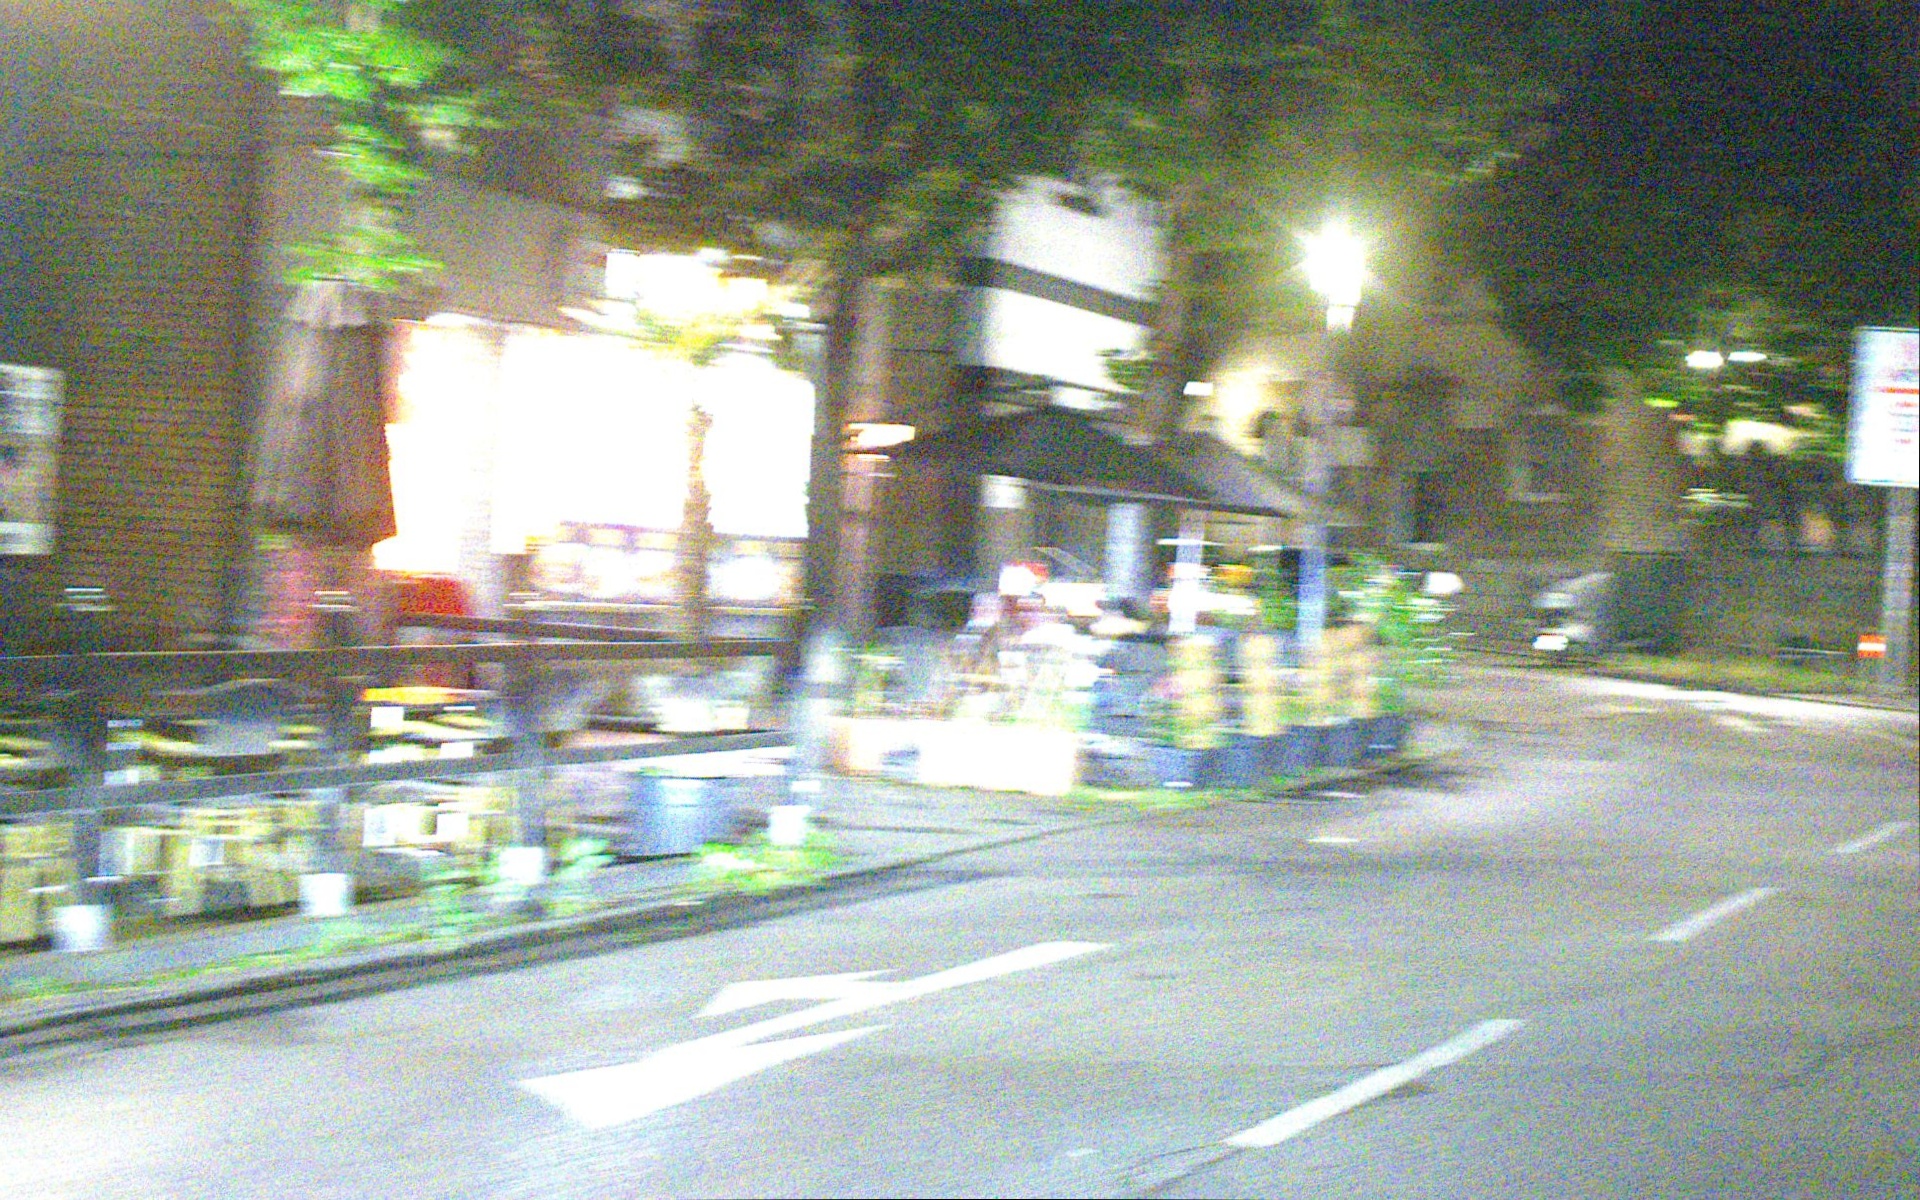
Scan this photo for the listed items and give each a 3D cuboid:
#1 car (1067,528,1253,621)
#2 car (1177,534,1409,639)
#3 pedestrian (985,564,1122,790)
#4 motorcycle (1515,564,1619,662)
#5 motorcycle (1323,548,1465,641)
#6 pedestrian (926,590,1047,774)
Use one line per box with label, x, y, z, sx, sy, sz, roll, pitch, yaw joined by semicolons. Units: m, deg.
car;3.553;-0.481;61.699;1.736;1.449;4.002;2;2;-22
car;5.448;-0.246;56.902;1.732;1.496;4.469;2;1;-25
pedestrian;0.596;0.476;21.789;0.676;1.373;0.576;3;1;16
motorcycle;8.745;0.184;49.475;0.762;1.348;1.941;4;2;31
motorcycle;6.872;-0.087;54.434;2.053;1.401;0.924;1;3;-33
pedestrian;0.179;0.528;22.574;0.575;1.160;0.677;3;1;16
